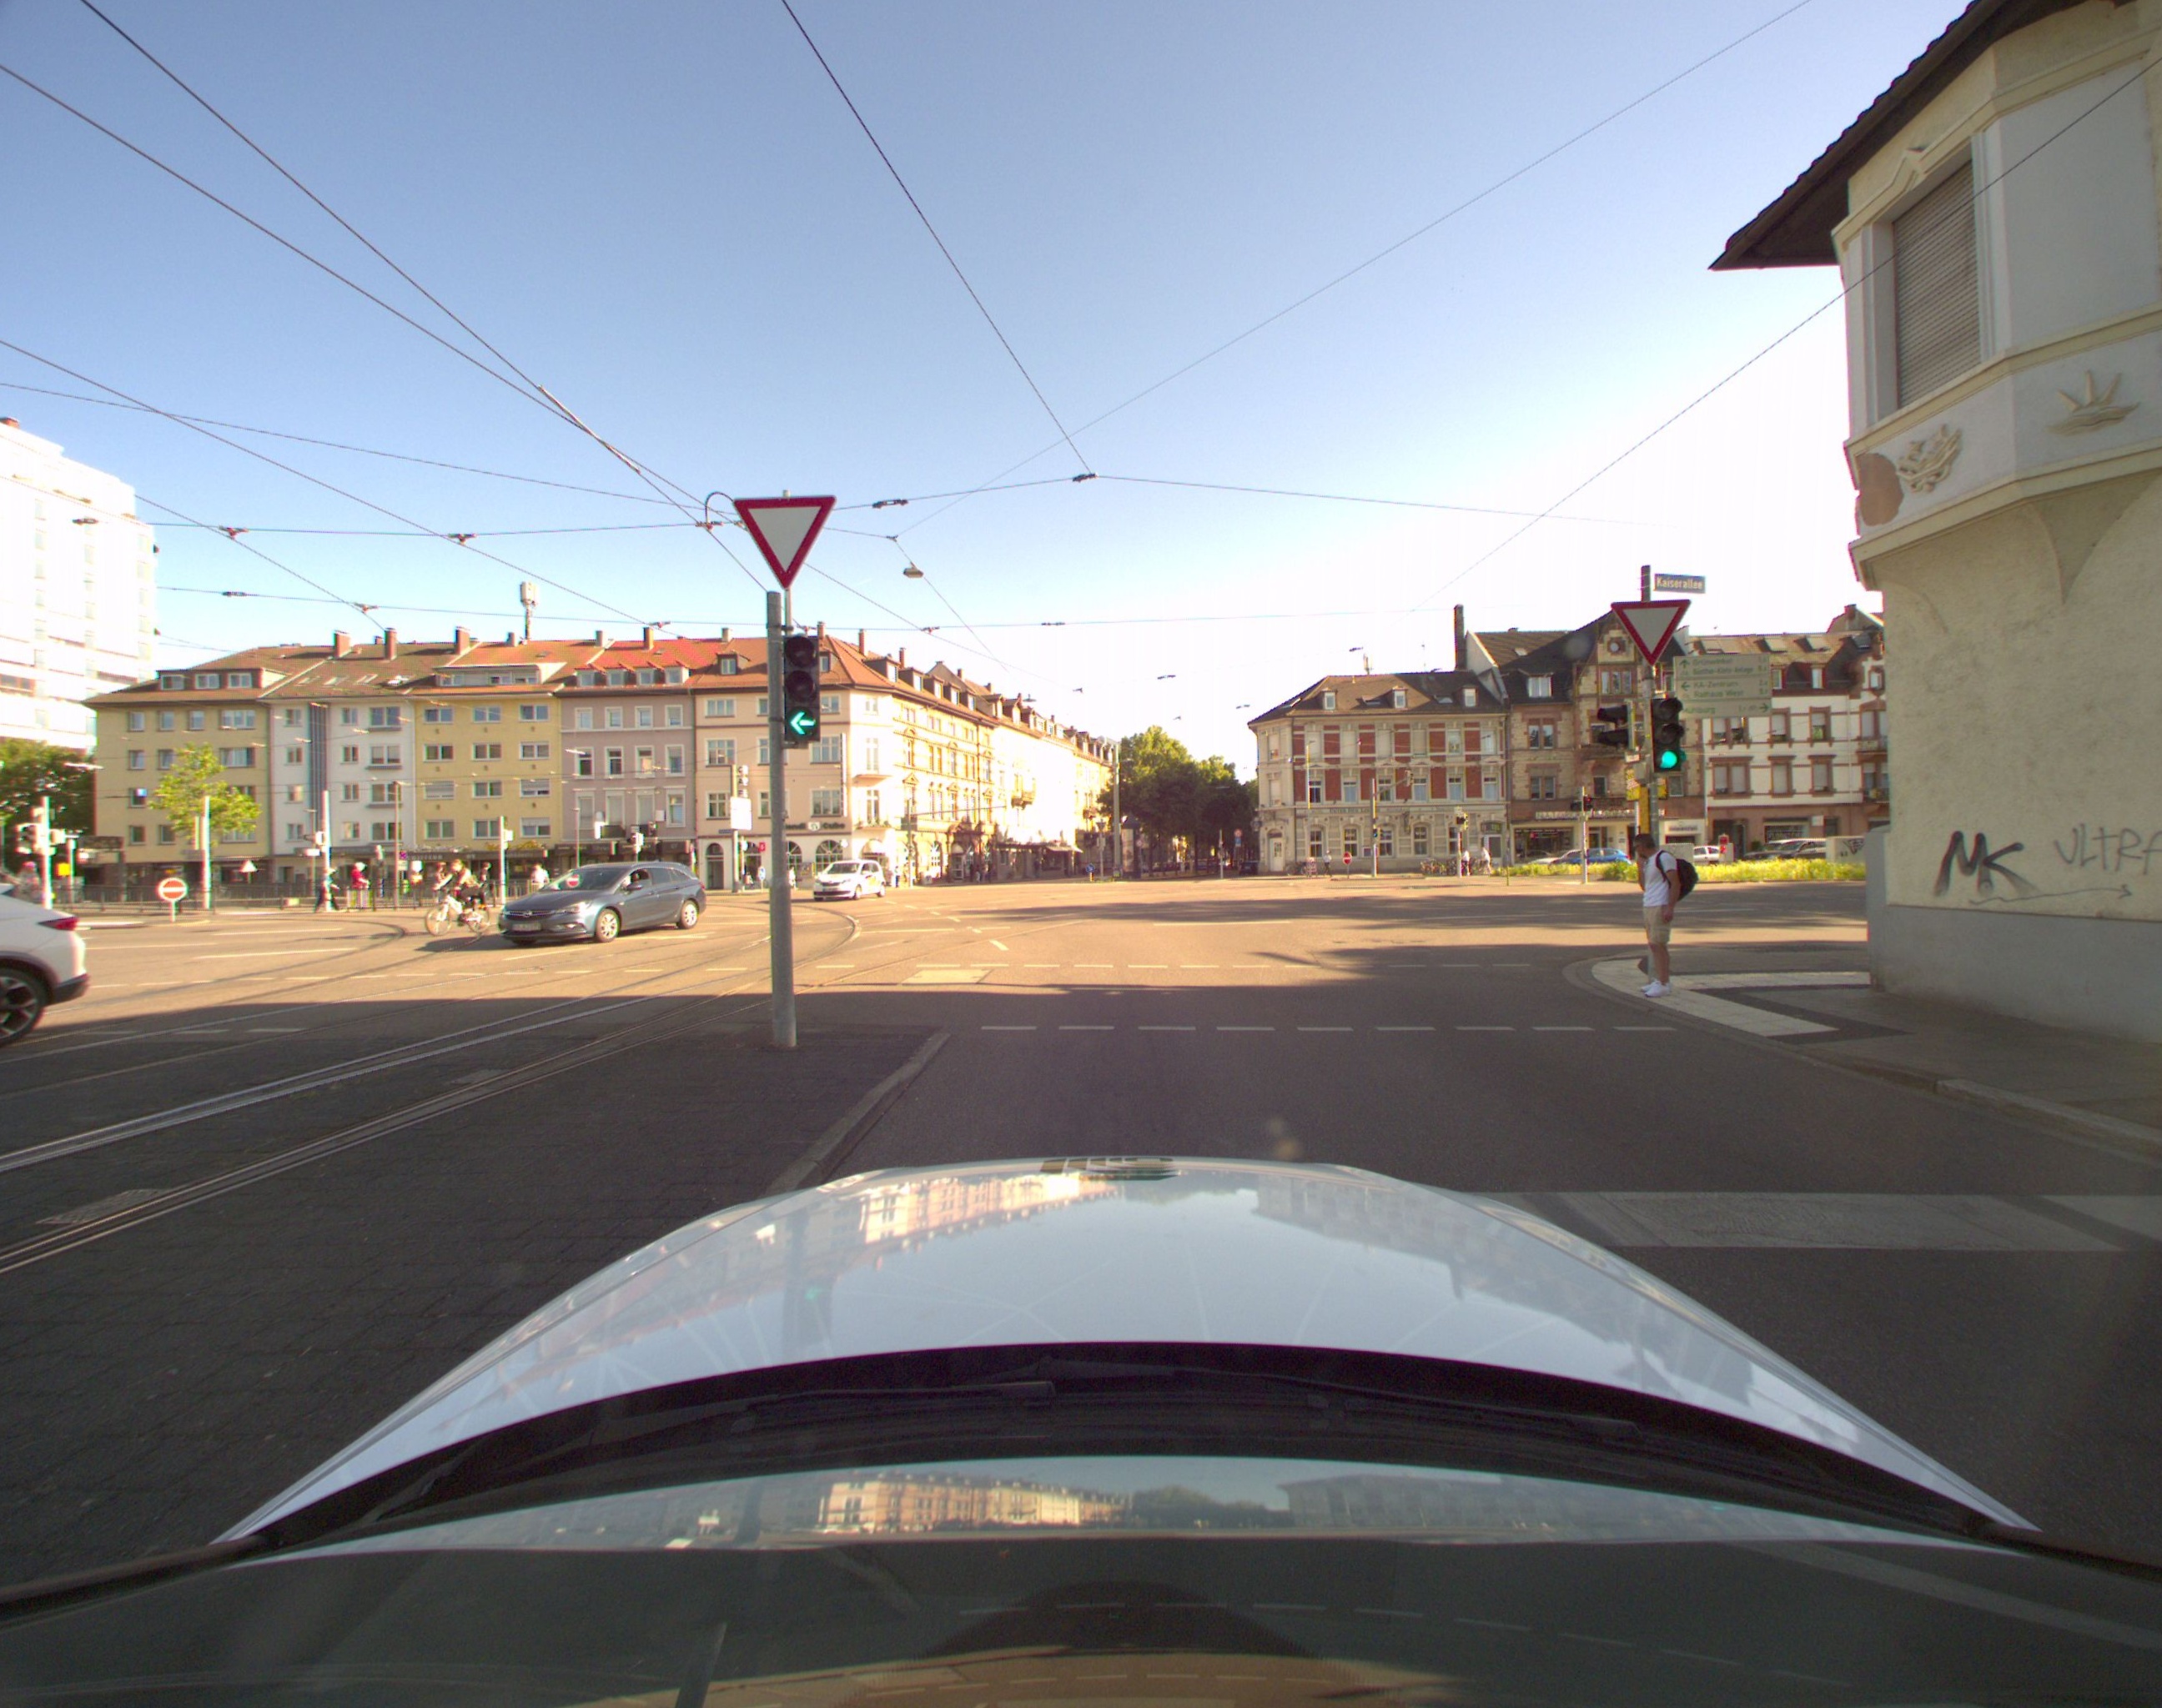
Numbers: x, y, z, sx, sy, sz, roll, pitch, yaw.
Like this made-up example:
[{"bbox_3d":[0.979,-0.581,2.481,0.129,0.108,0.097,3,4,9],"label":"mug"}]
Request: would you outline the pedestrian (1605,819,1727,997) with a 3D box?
[{"bbox_3d":[6.121,0.541,8.545,0.691,1.740,0.668,-4,-1,-26],"label":"pedestrian"}]
